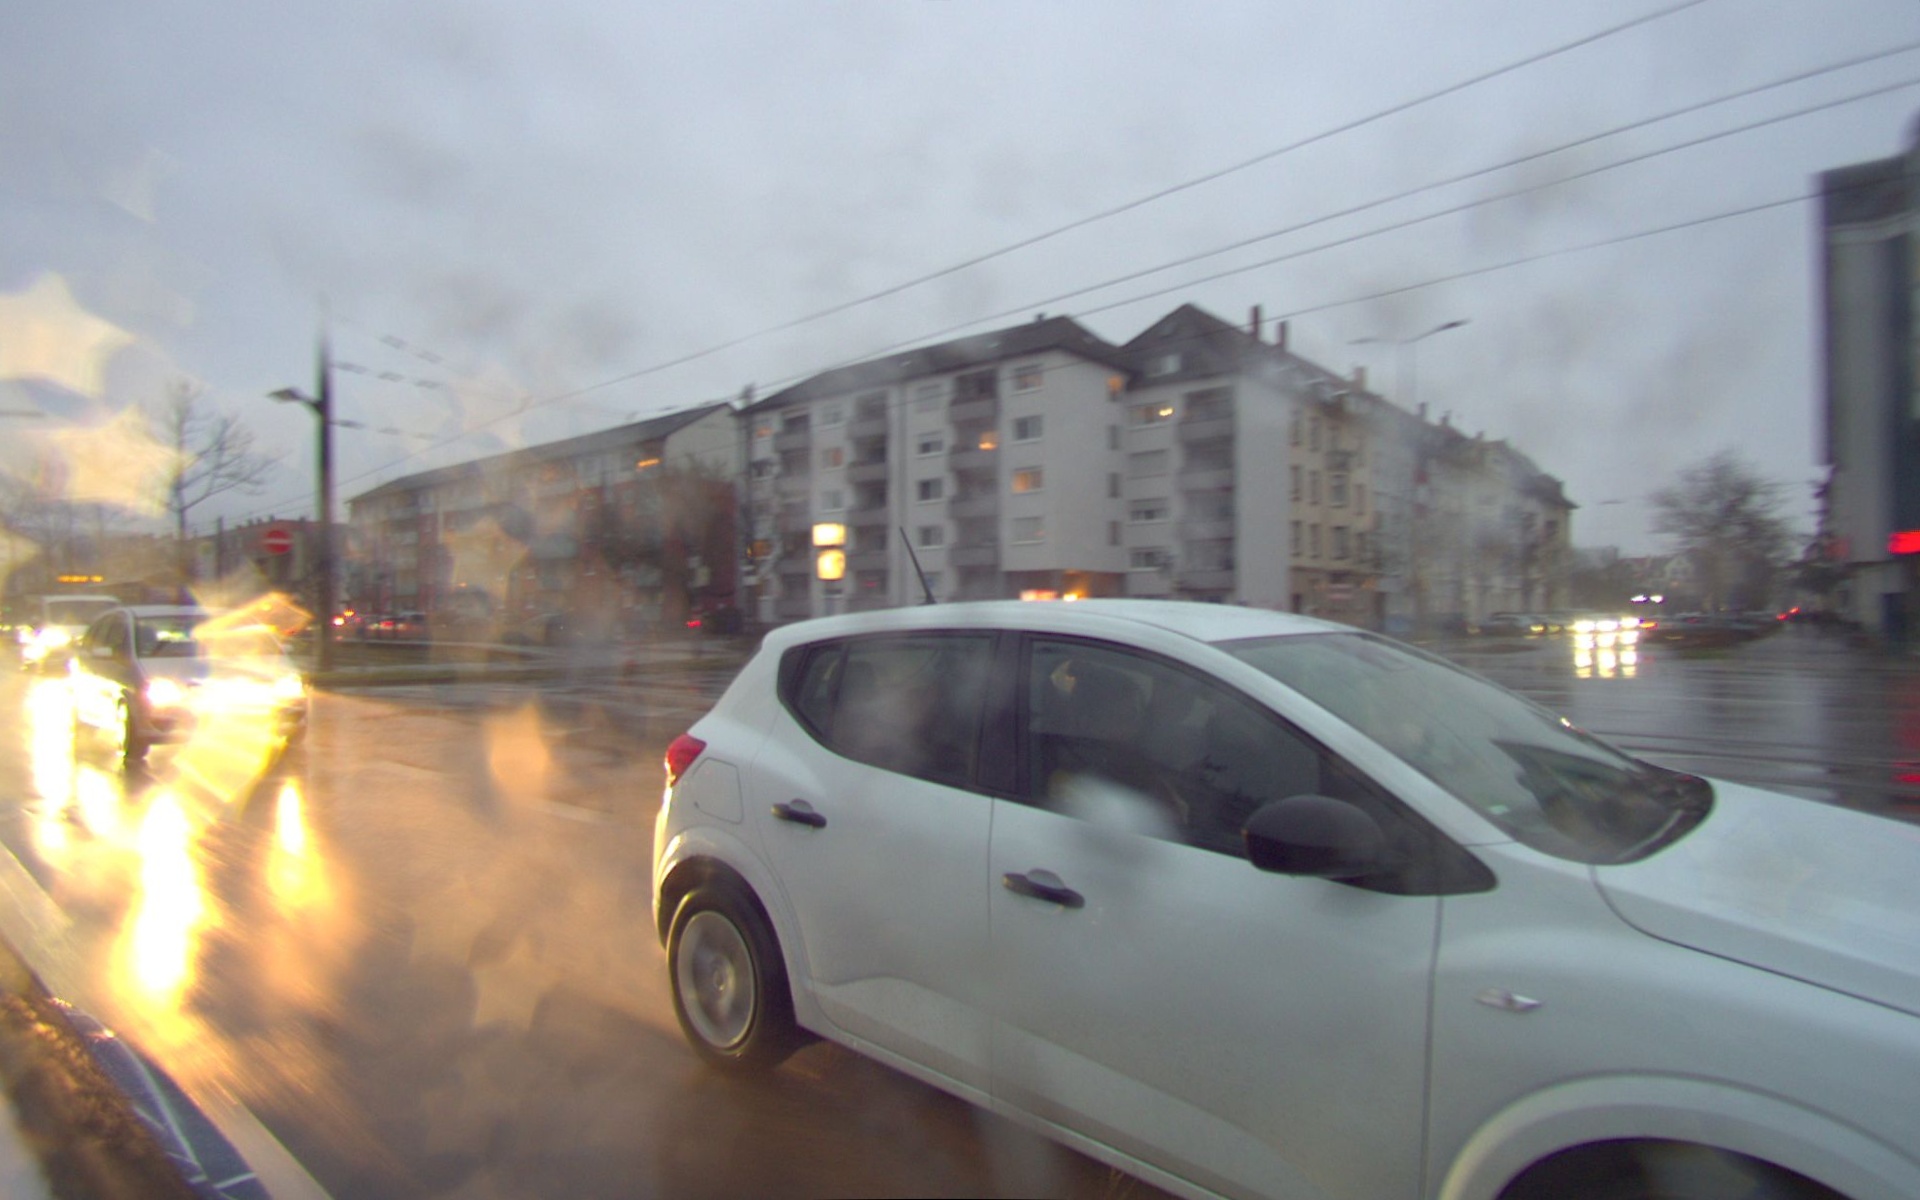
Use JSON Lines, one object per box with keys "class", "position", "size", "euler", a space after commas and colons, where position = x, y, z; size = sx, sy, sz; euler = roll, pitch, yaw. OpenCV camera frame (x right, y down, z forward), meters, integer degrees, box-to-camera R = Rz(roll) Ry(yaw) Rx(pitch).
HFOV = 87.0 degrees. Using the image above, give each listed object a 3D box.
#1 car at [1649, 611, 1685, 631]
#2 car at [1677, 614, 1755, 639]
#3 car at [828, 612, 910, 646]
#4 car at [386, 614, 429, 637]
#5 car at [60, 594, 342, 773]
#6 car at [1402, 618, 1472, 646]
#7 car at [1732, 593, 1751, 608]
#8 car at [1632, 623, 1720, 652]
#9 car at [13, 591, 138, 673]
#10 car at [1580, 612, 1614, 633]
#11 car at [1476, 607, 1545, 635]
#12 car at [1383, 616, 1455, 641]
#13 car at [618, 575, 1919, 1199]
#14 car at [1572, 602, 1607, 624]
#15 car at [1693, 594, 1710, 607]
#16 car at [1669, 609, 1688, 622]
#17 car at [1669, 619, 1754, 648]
{"class": "car", "position": [53.513, 1.593, 76.587], "size": [1.686, 1.357, 3.483], "euler": [0, 1, 45]}
{"class": "car", "position": [43.292, 1.502, 57.976], "size": [3.486, 1.300, 1.581], "euler": [0, 1, 40]}
{"class": "car", "position": [-4.111, 1.295, 46.083], "size": [1.695, 1.377, 3.765], "euler": [0, 1, 35]}
{"class": "car", "position": [-43.734, 1.999, 80.079], "size": [4.151, 1.658, 1.706], "euler": [0, 1, 43]}
{"class": "car", "position": [-8.950, 0.786, 11.812], "size": [4.001, 1.689, 1.994], "euler": [0, 1, 44]}
{"class": "car", "position": [29.014, 1.947, 61.596], "size": [3.614, 1.533, 1.658], "euler": [0, 1, 40]}
{"class": "car", "position": [92.687, 0.068, 120.019], "size": [1.510, 1.726, 3.561], "euler": [0, 1, 43]}
{"class": "car", "position": [37.000, 1.911, 52.355], "size": [3.614, 1.352, 1.581], "euler": [0, 1, 40]}
{"class": "car", "position": [-24.320, 0.830, 27.770], "size": [4.880, 2.049, 1.932], "euler": [-1, 0, 41]}
{"class": "car", "position": [46.730, 1.629, 74.254], "size": [1.489, 1.371, 3.389], "euler": [0, 1, 43]}
{"class": "car", "position": [38.140, 1.413, 70.147], "size": [3.997, 1.813, 1.554], "euler": [0, 1, 40]}
{"class": "car", "position": [26.148, 1.592, 57.699], "size": [3.451, 1.308, 1.568], "euler": [0, 1, 40]}
{"class": "car", "position": [0.911, 0.686, 2.699], "size": [3.998, 1.477, 1.690], "euler": [0, 1, 41]}
{"class": "car", "position": [56.179, 1.161, 90.295], "size": [2.000, 1.844, 3.810], "euler": [0, 1, 42]}
{"class": "car", "position": [99.600, 0.074, 135.924], "size": [1.757, 1.612, 3.862], "euler": [0, 1, 36]}
{"class": "car", "position": [68.889, 1.464, 97.015], "size": [1.168, 1.154, 2.434], "euler": [0, 1, 43]}
{"class": "car", "position": [40.180, 1.765, 54.144], "size": [3.614, 1.352, 1.581], "euler": [0, 1, 40]}
